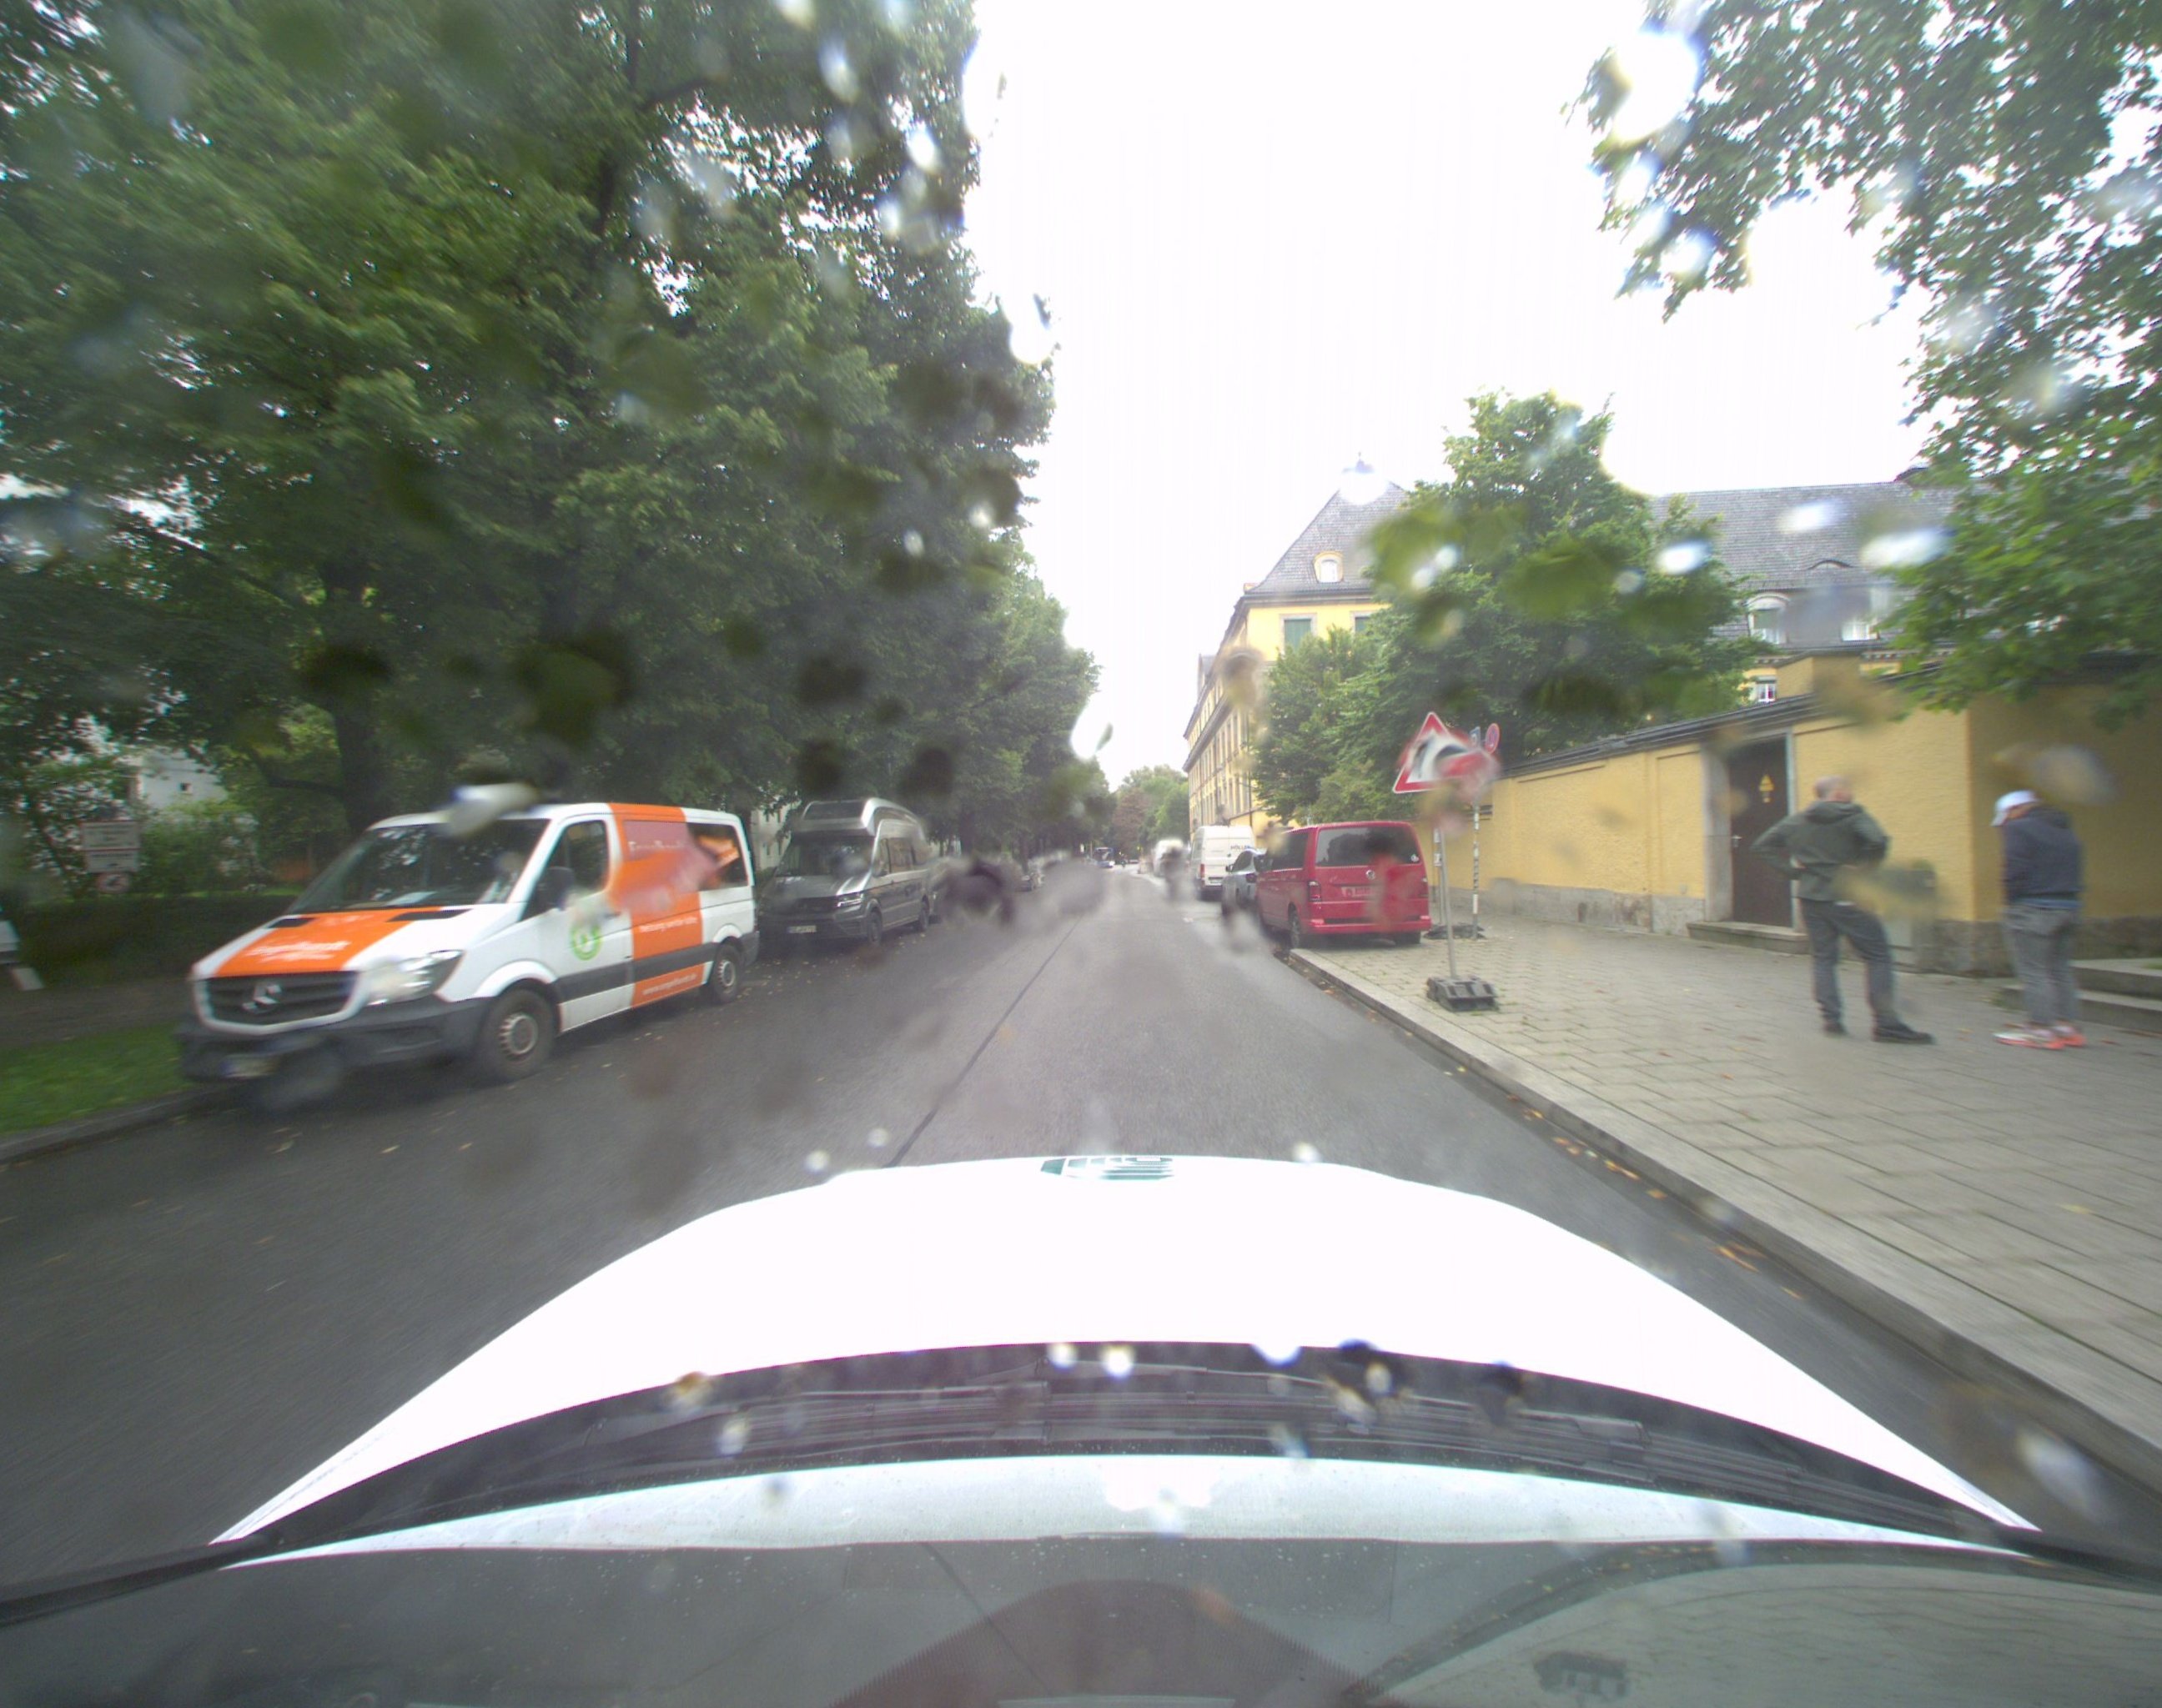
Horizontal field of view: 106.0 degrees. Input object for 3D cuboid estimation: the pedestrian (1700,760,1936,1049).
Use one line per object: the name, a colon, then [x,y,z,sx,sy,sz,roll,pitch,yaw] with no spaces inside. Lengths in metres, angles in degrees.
pedestrian: [5.190,0.313,5.778,0.823,1.836,0.944,-2,-1,-24]

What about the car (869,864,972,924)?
car: [-4.330,1.046,22.617,1.987,1.420,4.000,-2,0,0]

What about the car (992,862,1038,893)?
car: [-3.333,1.174,42.074,1.987,1.487,4.129,-2,0,0]

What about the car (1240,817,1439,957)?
car: [4.152,0.481,14.038,1.904,1.937,4.970,-2,0,1]

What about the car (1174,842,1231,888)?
car: [5.374,0.479,36.596,1.986,1.883,4.001,-2,0,1]

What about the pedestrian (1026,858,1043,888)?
pedestrian: [-2.529,1.049,44.618,0.882,1.598,0.822,-2,-1,-5]

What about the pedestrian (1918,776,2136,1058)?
pedestrian: [6.076,0.368,5.258,0.635,1.667,0.693,-2,-1,-19]

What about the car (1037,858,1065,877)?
car: [-2.294,1.048,63.871,1.987,1.420,4.000,-2,0,0]

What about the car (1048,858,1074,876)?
car: [-1.675,1.085,69.423,1.987,1.420,4.000,-2,0,0]

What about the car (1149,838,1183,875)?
car: [6.356,0.205,61.238,1.835,2.622,4.380,-2,0,-2]

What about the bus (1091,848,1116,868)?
bus: [3.395,0.578,124.266,2.932,2.919,8.226,-1,0,-4]

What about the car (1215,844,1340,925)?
car: [4.467,0.642,19.244,1.985,1.634,4.567,-2,0,3]

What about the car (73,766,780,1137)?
car: [-5.255,0.642,8.021,2.075,2.265,5.608,-4,0,4]

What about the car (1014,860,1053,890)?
car: [-2.771,1.220,48.257,1.987,1.620,4.129,-2,0,0]

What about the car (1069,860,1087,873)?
car: [-0.343,1.405,93.043,1.987,1.420,4.000,-2,0,0]

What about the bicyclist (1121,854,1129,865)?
bicyclist: [6.057,0.736,111.579,1.017,1.545,1.258,-2,0,3]

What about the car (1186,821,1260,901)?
car: [5.025,0.241,29.544,1.985,2.558,5.435,-2,0,3]

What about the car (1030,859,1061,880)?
car: [-2.518,1.064,58.226,1.987,1.420,4.000,-2,0,0]

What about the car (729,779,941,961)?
car: [-4.690,0.280,16.874,2.164,3.002,6.237,-2,0,2]

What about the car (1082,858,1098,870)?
car: [1.175,1.325,107.434,1.987,1.420,4.000,-2,0,0]

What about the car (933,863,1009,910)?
car: [-3.715,1.079,28.186,1.987,1.420,4.129,-2,0,0]

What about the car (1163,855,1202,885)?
car: [5.906,0.909,47.777,1.788,1.679,4.001,-2,0,1]

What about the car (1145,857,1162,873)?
car: [8.242,1.191,92.535,1.795,1.736,4.008,-2,0,7]

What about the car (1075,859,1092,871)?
car: [0.341,1.321,102.081,1.987,1.420,4.000,-2,0,0]

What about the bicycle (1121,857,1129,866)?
bicycle: [6.048,1.036,111.432,1.017,1.157,2.488,-2,0,4]

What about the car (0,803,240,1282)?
car: [-5.411,0.794,1.318,2.018,1.908,5.669,-3,0,2]
